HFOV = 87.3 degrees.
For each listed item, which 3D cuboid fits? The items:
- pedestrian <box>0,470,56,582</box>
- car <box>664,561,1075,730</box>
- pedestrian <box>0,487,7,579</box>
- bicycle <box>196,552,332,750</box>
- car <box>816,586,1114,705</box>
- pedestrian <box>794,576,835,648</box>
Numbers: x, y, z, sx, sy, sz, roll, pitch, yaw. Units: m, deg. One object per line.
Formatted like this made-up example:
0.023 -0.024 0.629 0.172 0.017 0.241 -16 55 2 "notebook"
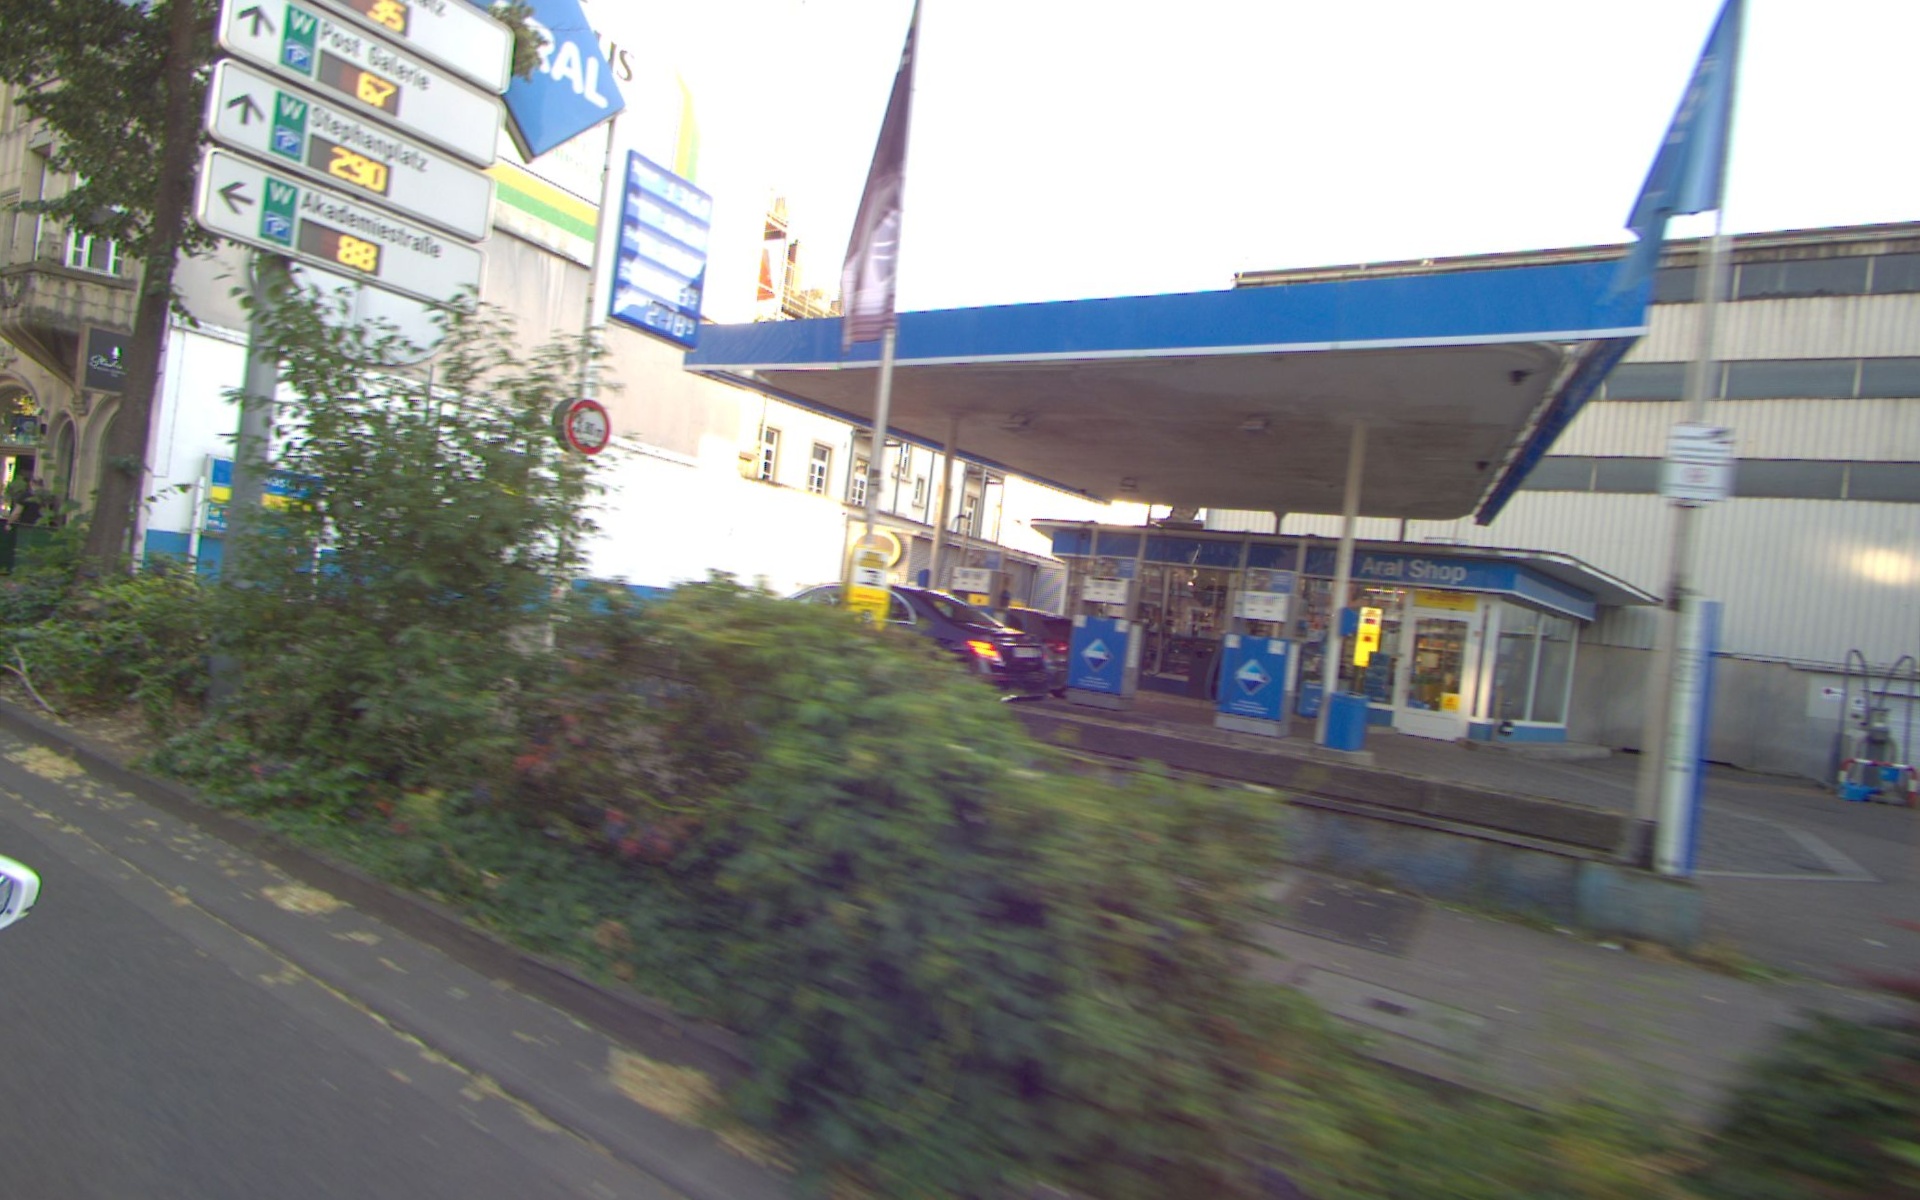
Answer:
-16.596 -1.306 17.880 0.492 1.898 0.461 7 1 17 "pedestrian"
-1.215 0.468 12.268 4.828 1.448 1.736 5 0 32 "car"
-17.114 -1.209 17.438 0.690 1.583 0.659 7 3 32 "pedestrian"
-4.698 0.290 6.874 0.478 1.158 1.668 4 2 -27 "bicycle"
0.007 0.713 16.754 4.681 1.419 1.712 5 0 32 "car"
-3.692 0.301 25.554 0.644 1.737 0.547 8 2 31 "pedestrian"
